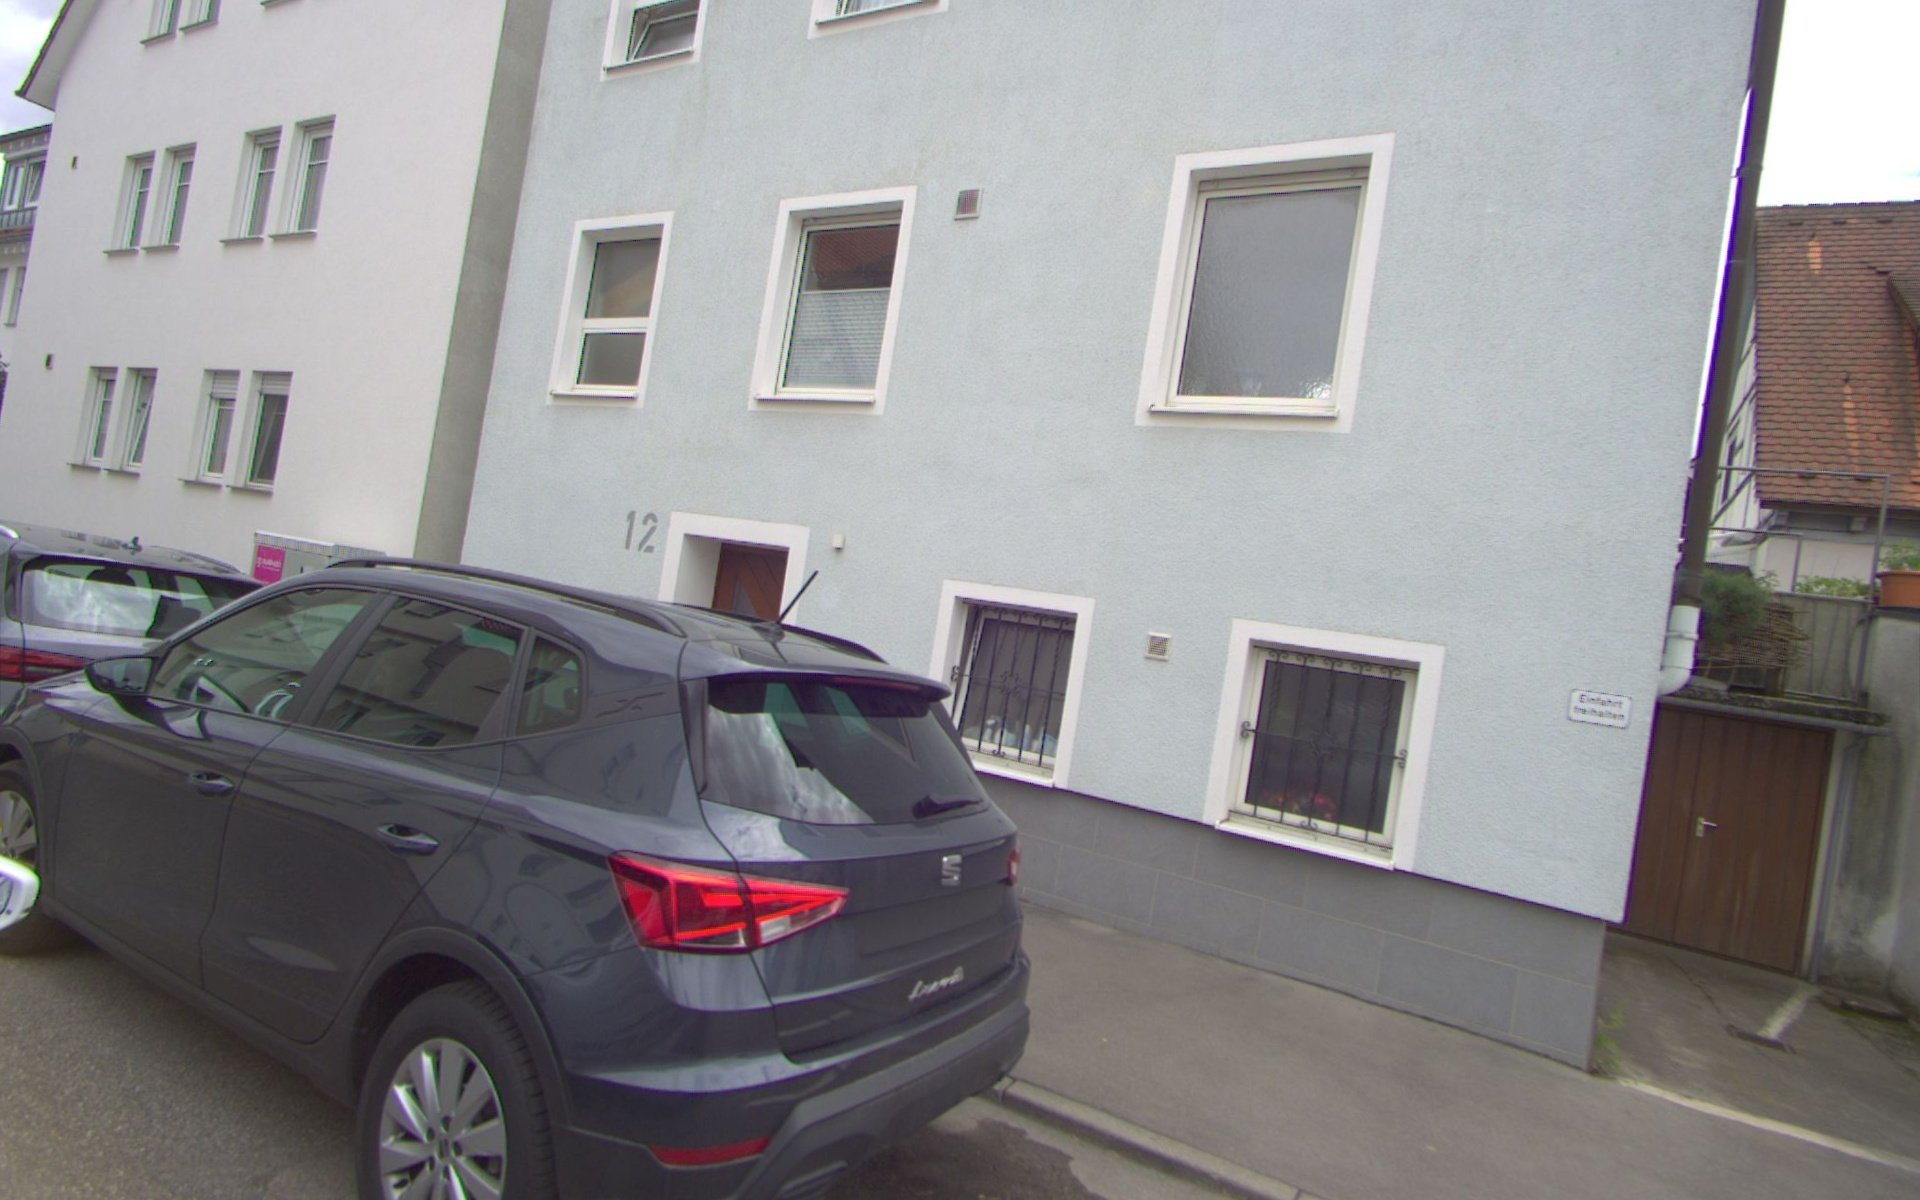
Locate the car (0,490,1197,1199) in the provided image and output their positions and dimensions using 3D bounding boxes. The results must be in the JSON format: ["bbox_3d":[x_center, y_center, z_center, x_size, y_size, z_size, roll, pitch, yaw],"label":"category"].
[{"bbox_3d":[-1.737,0.711,3.401,4.459,1.645,1.759,7,-3,32],"label":"car"}]

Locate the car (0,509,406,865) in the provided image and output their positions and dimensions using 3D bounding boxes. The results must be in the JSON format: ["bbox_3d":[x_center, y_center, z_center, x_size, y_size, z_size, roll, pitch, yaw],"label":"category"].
[{"bbox_3d":[-5.560,0.205,5.811,4.576,1.426,1.922,7,-1,30],"label":"car"}]
